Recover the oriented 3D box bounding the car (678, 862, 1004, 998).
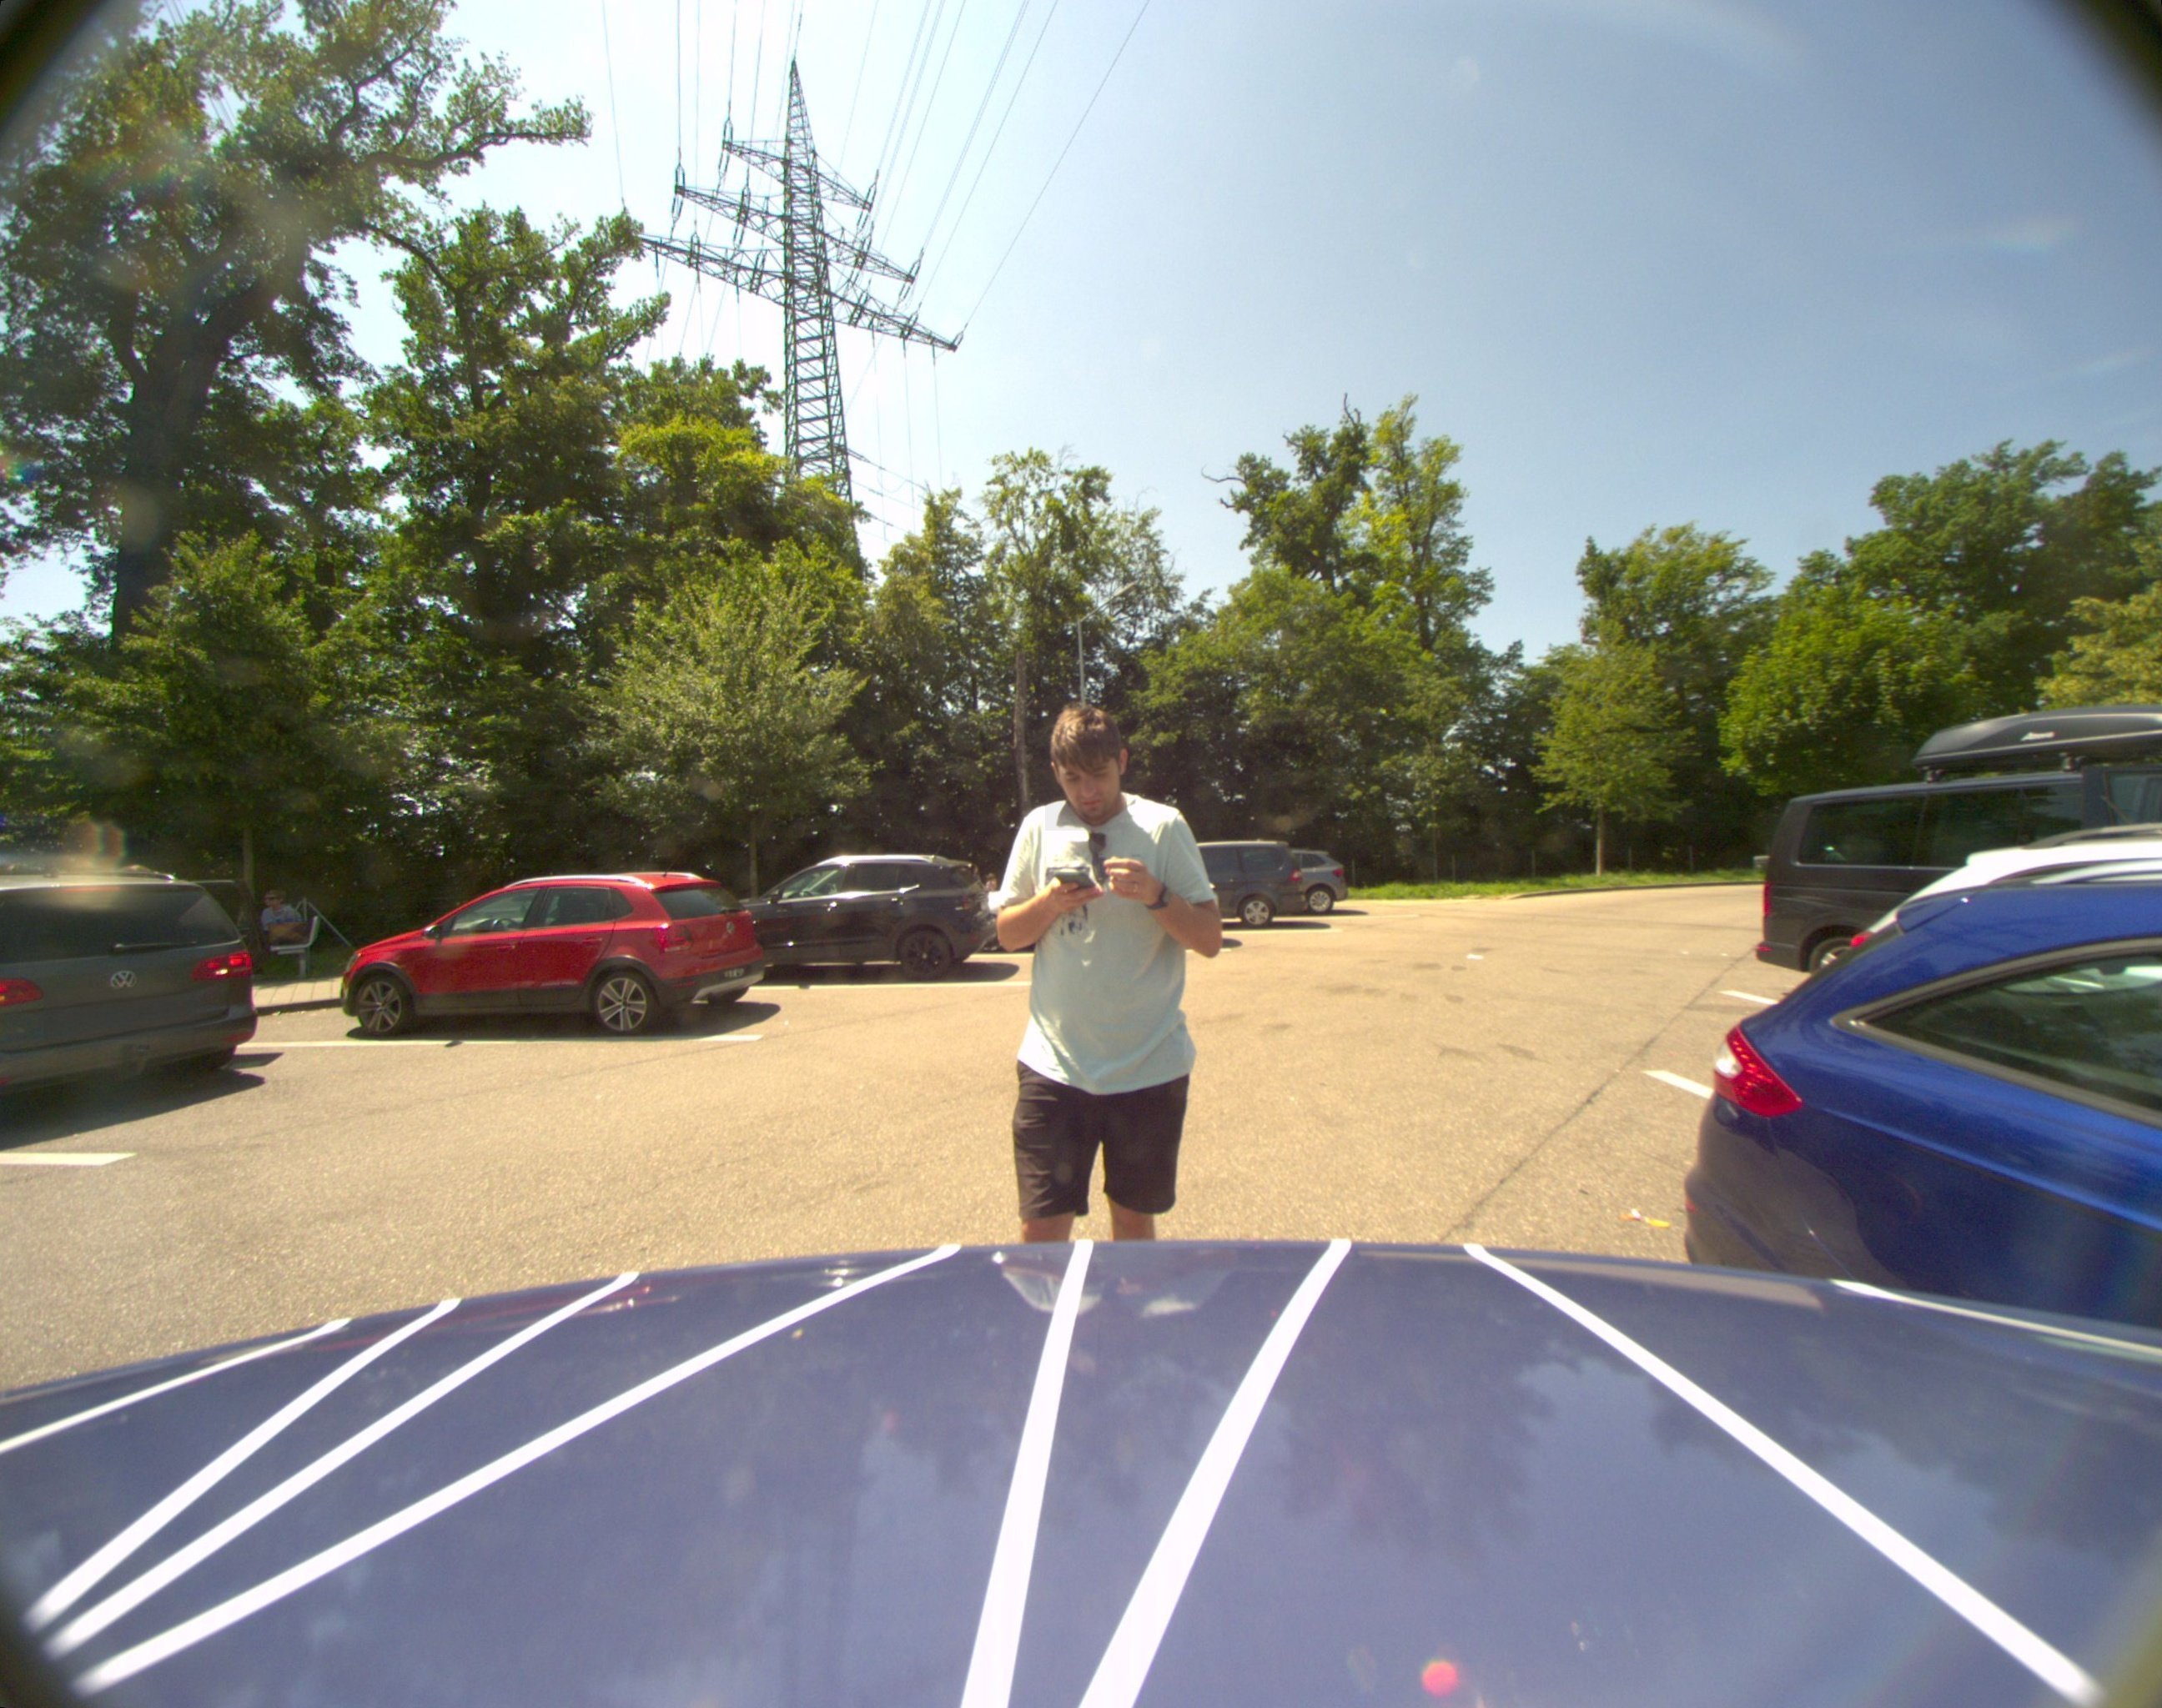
[{"bbox_3d":[-3.069,0.952,10.261,3.787,1.564,1.721,-2,1,2],"label":"car"}]

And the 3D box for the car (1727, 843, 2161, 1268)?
[{"bbox_3d":[4.871,0.726,2.284,1.741,1.524,4.642,-3,-1,-2],"label":"car"}]

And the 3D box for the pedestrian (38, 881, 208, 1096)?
[{"bbox_3d":[-8.298,1.096,6.593,0.917,1.672,0.735,-2,1,31],"label":"pedestrian"}]

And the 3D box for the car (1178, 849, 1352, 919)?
[{"bbox_3d":[4.336,0.703,18.156,3.818,1.530,1.722,-1,1,12],"label":"car"}]

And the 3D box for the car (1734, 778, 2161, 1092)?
[{"bbox_3d":[7.318,0.438,4.914,1.961,1.858,4.642,-3,-1,-3],"label":"car"}]

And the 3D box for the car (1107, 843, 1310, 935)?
[{"bbox_3d":[2.584,0.681,15.453,3.818,1.714,1.722,-1,1,12],"label":"car"}]

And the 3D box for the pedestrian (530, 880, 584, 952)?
[{"bbox_3d":[-10.002,1.164,14.500,0.782,1.287,0.670,-1,1,45],"label":"pedestrian"}]

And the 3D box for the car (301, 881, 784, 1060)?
[{"bbox_3d":[-5.242,1.082,7.650,3.785,1.457,1.722,-1,1,9],"label":"car"}]

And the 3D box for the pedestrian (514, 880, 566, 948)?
[{"bbox_3d":[-10.913,1.191,15.317,0.782,1.287,0.670,-1,1,45],"label":"pedestrian"}]

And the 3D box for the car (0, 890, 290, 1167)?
[{"bbox_3d":[-8.294,1.124,5.441,3.985,1.572,1.749,-1,1,12],"label":"car"}]

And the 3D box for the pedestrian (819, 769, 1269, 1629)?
[{"bbox_3d":[-0.068,0.750,1.933,0.890,1.831,0.622,-2,1,1],"label":"pedestrian"}]

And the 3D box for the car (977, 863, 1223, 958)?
[{"bbox_3d":[0.361,0.913,12.727,3.819,1.377,1.722,-2,1,6],"label":"car"}]
